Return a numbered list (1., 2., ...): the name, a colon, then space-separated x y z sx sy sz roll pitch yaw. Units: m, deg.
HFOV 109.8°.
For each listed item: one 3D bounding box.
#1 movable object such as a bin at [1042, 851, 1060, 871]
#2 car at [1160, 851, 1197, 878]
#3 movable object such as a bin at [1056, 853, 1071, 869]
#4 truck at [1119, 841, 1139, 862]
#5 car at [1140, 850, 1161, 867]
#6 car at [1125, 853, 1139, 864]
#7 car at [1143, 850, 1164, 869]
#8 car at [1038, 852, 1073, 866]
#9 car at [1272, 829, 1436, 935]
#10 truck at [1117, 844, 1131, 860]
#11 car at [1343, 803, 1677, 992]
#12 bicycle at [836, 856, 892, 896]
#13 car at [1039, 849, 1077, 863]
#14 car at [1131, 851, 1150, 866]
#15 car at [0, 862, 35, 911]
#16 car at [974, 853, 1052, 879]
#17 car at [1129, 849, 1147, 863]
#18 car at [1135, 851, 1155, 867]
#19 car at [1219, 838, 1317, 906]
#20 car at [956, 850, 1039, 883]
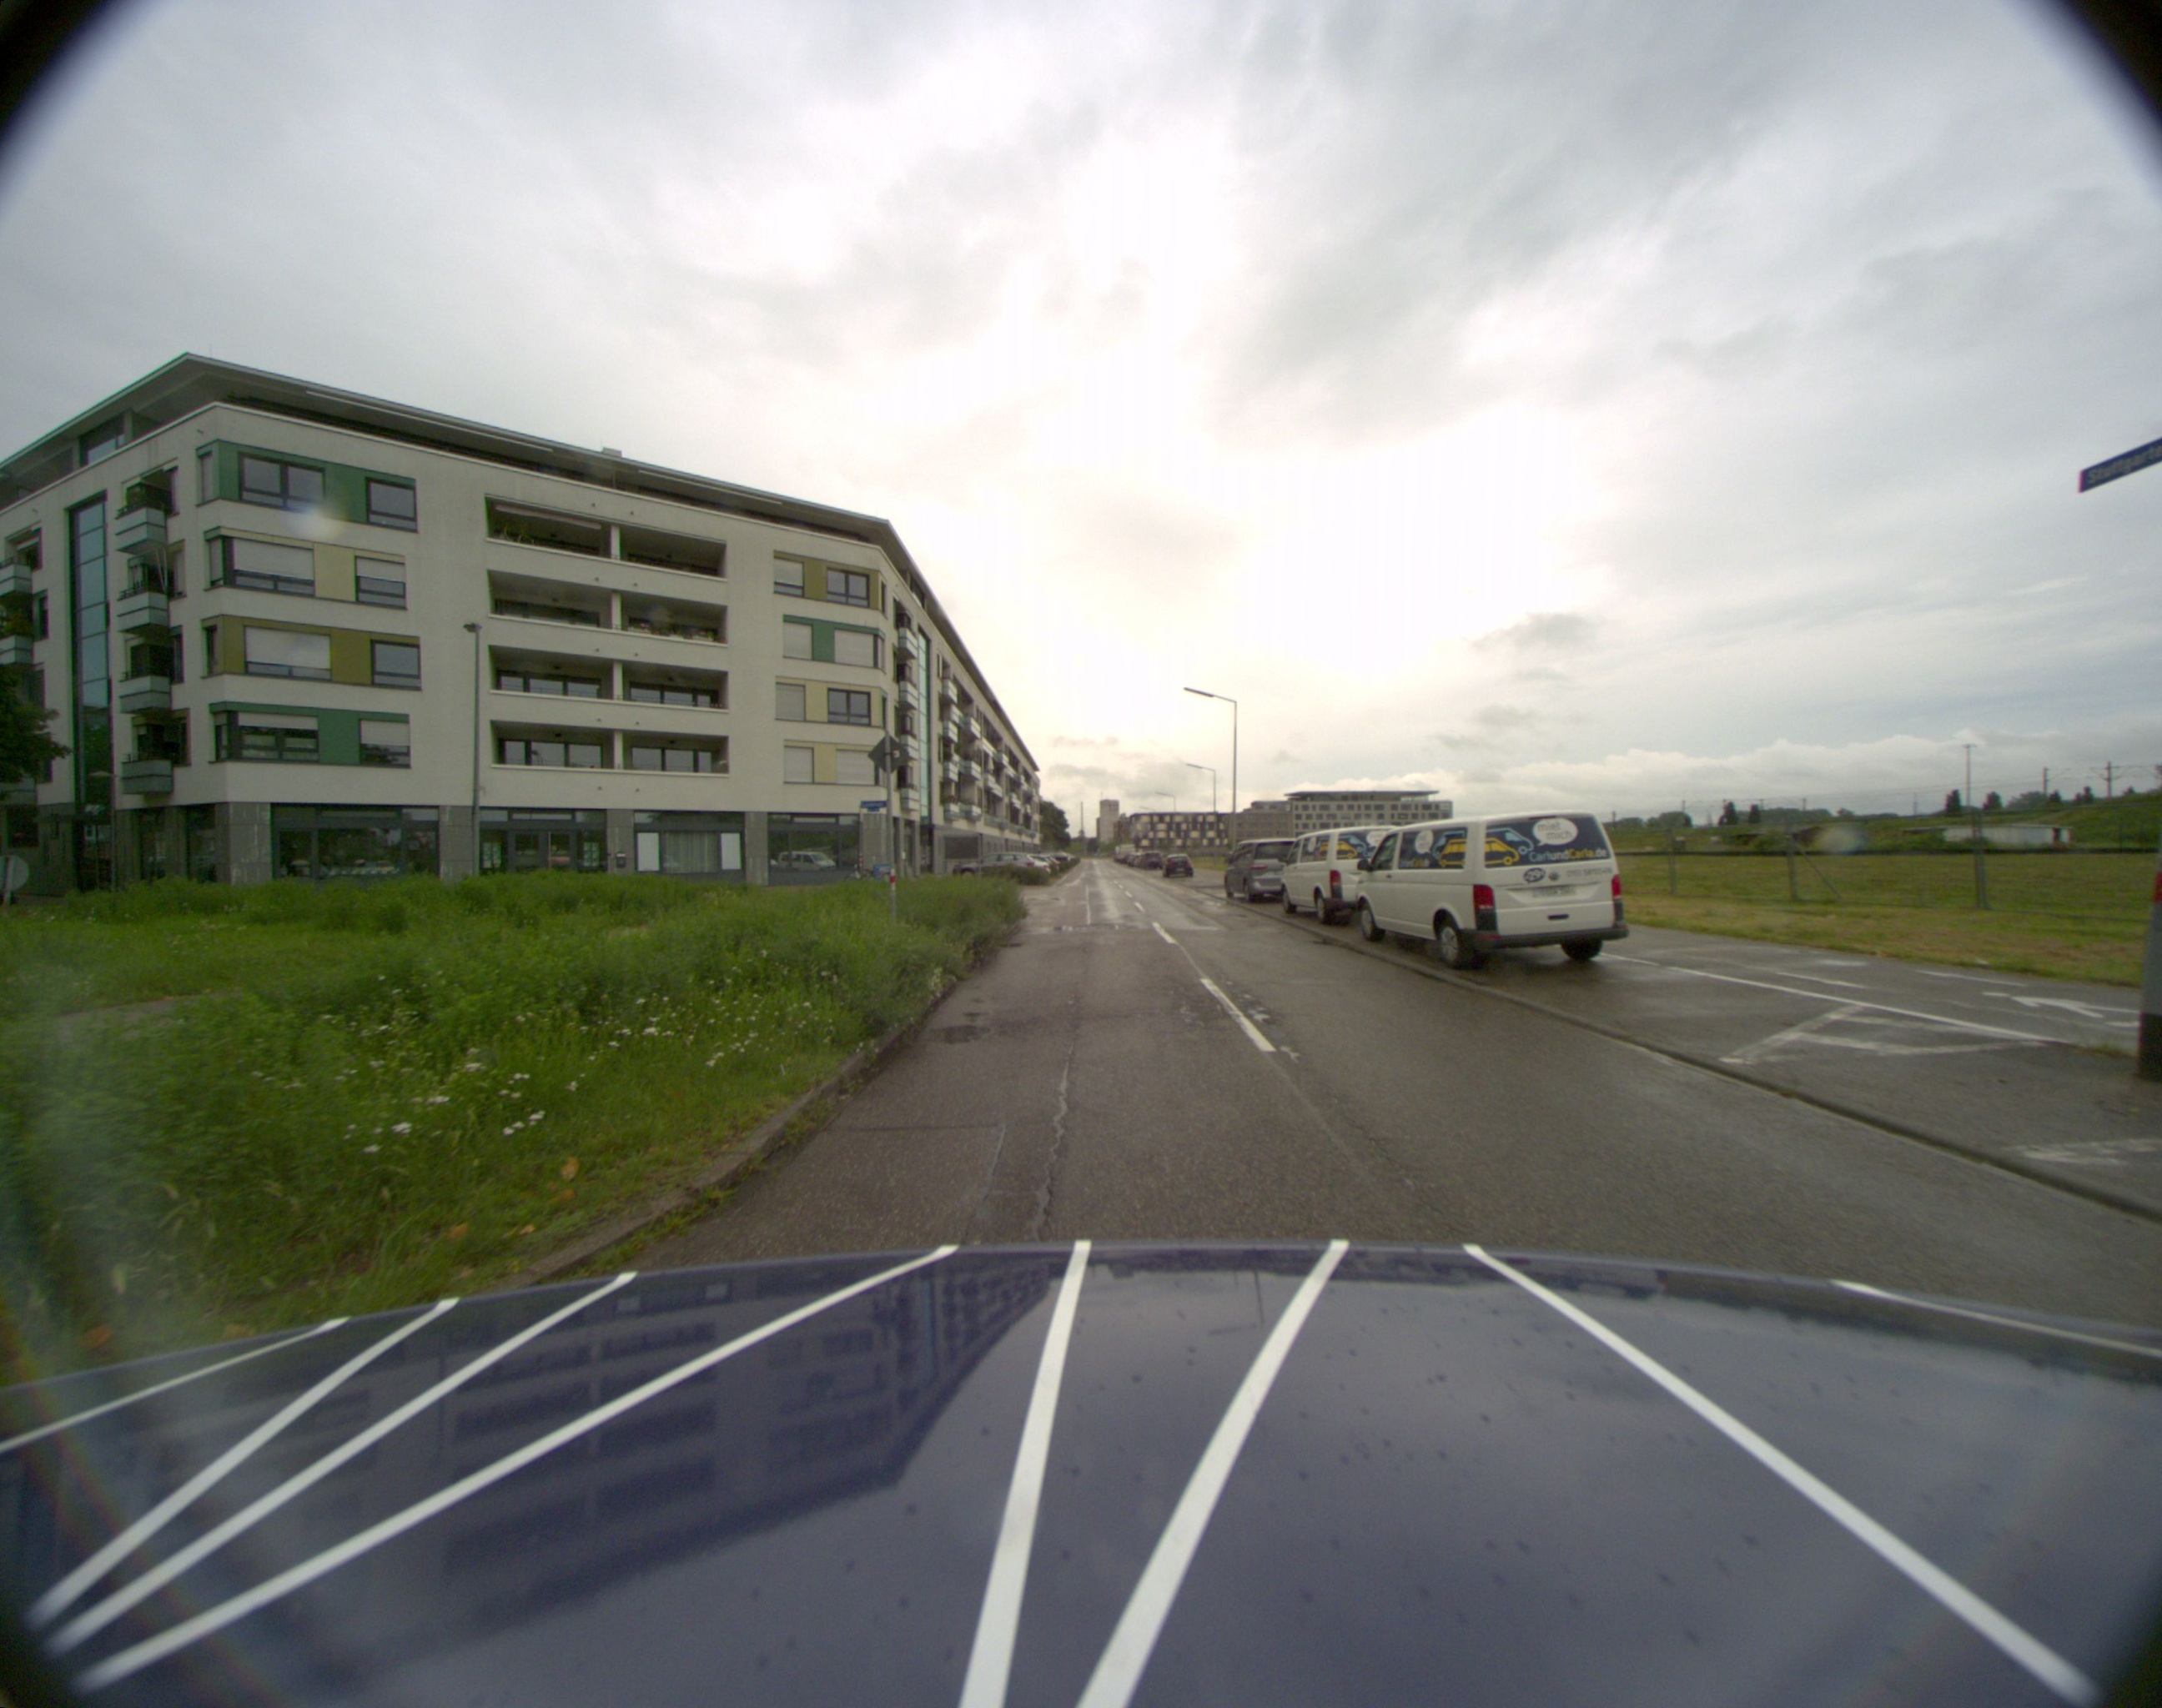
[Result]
1. movable object such as a bin: -2.391 0.522 60.545 1.303 1.517 1.581 -2 0 1
2. car: 6.248 0.619 49.162 1.851 1.552 4.152 -4 0 1
3. movable object such as a bin: -1.766 0.701 76.596 1.499 1.484 1.155 2 1 1
4. truck: 7.224 -0.397 115.218 2.442 3.050 6.700 -2 0 0
5. car: 6.944 0.461 76.348 1.757 1.581 4.133 -1 0 1
6. car: 7.215 0.619 107.384 1.676 1.454 4.157 -1 0 1
7. car: 6.718 0.461 70.689 1.756 1.683 4.882 -1 0 4
8. car: -3.079 0.544 92.384 4.218 1.634 1.686 0 1 0
9. car: 5.910 0.535 17.221 1.899 2.002 5.258 -1 0 1
10. truck: 7.601 -0.369 135.231 2.180 2.591 6.131 -2 0 1
11. car: 5.708 0.487 11.135 1.964 2.046 5.274 -2 0 1
12. bicycle: -8.538 0.850 29.876 2.189 1.514 0.631 0 1 21
13. car: -3.147 0.284 104.949 5.062 1.917 1.982 1 1 1
14. car: 6.808 0.525 87.724 1.842 1.520 4.670 -3 1 1
15. car: -33.805 1.014 21.565 1.809 1.424 4.530 -1 1 24
16. car: -3.956 0.686 44.952 4.420 1.397 1.910 1 1 0
17. car: 7.036 0.274 94.343 1.857 1.598 4.988 -4 0 0
18. car: 6.943 0.532 82.140 1.730 1.566 4.210 -1 1 -1
19. car: 5.882 0.513 24.542 1.960 1.890 4.995 -2 0 1
20. car: -4.351 0.619 40.020 4.100 1.614 1.966 1 1 0
